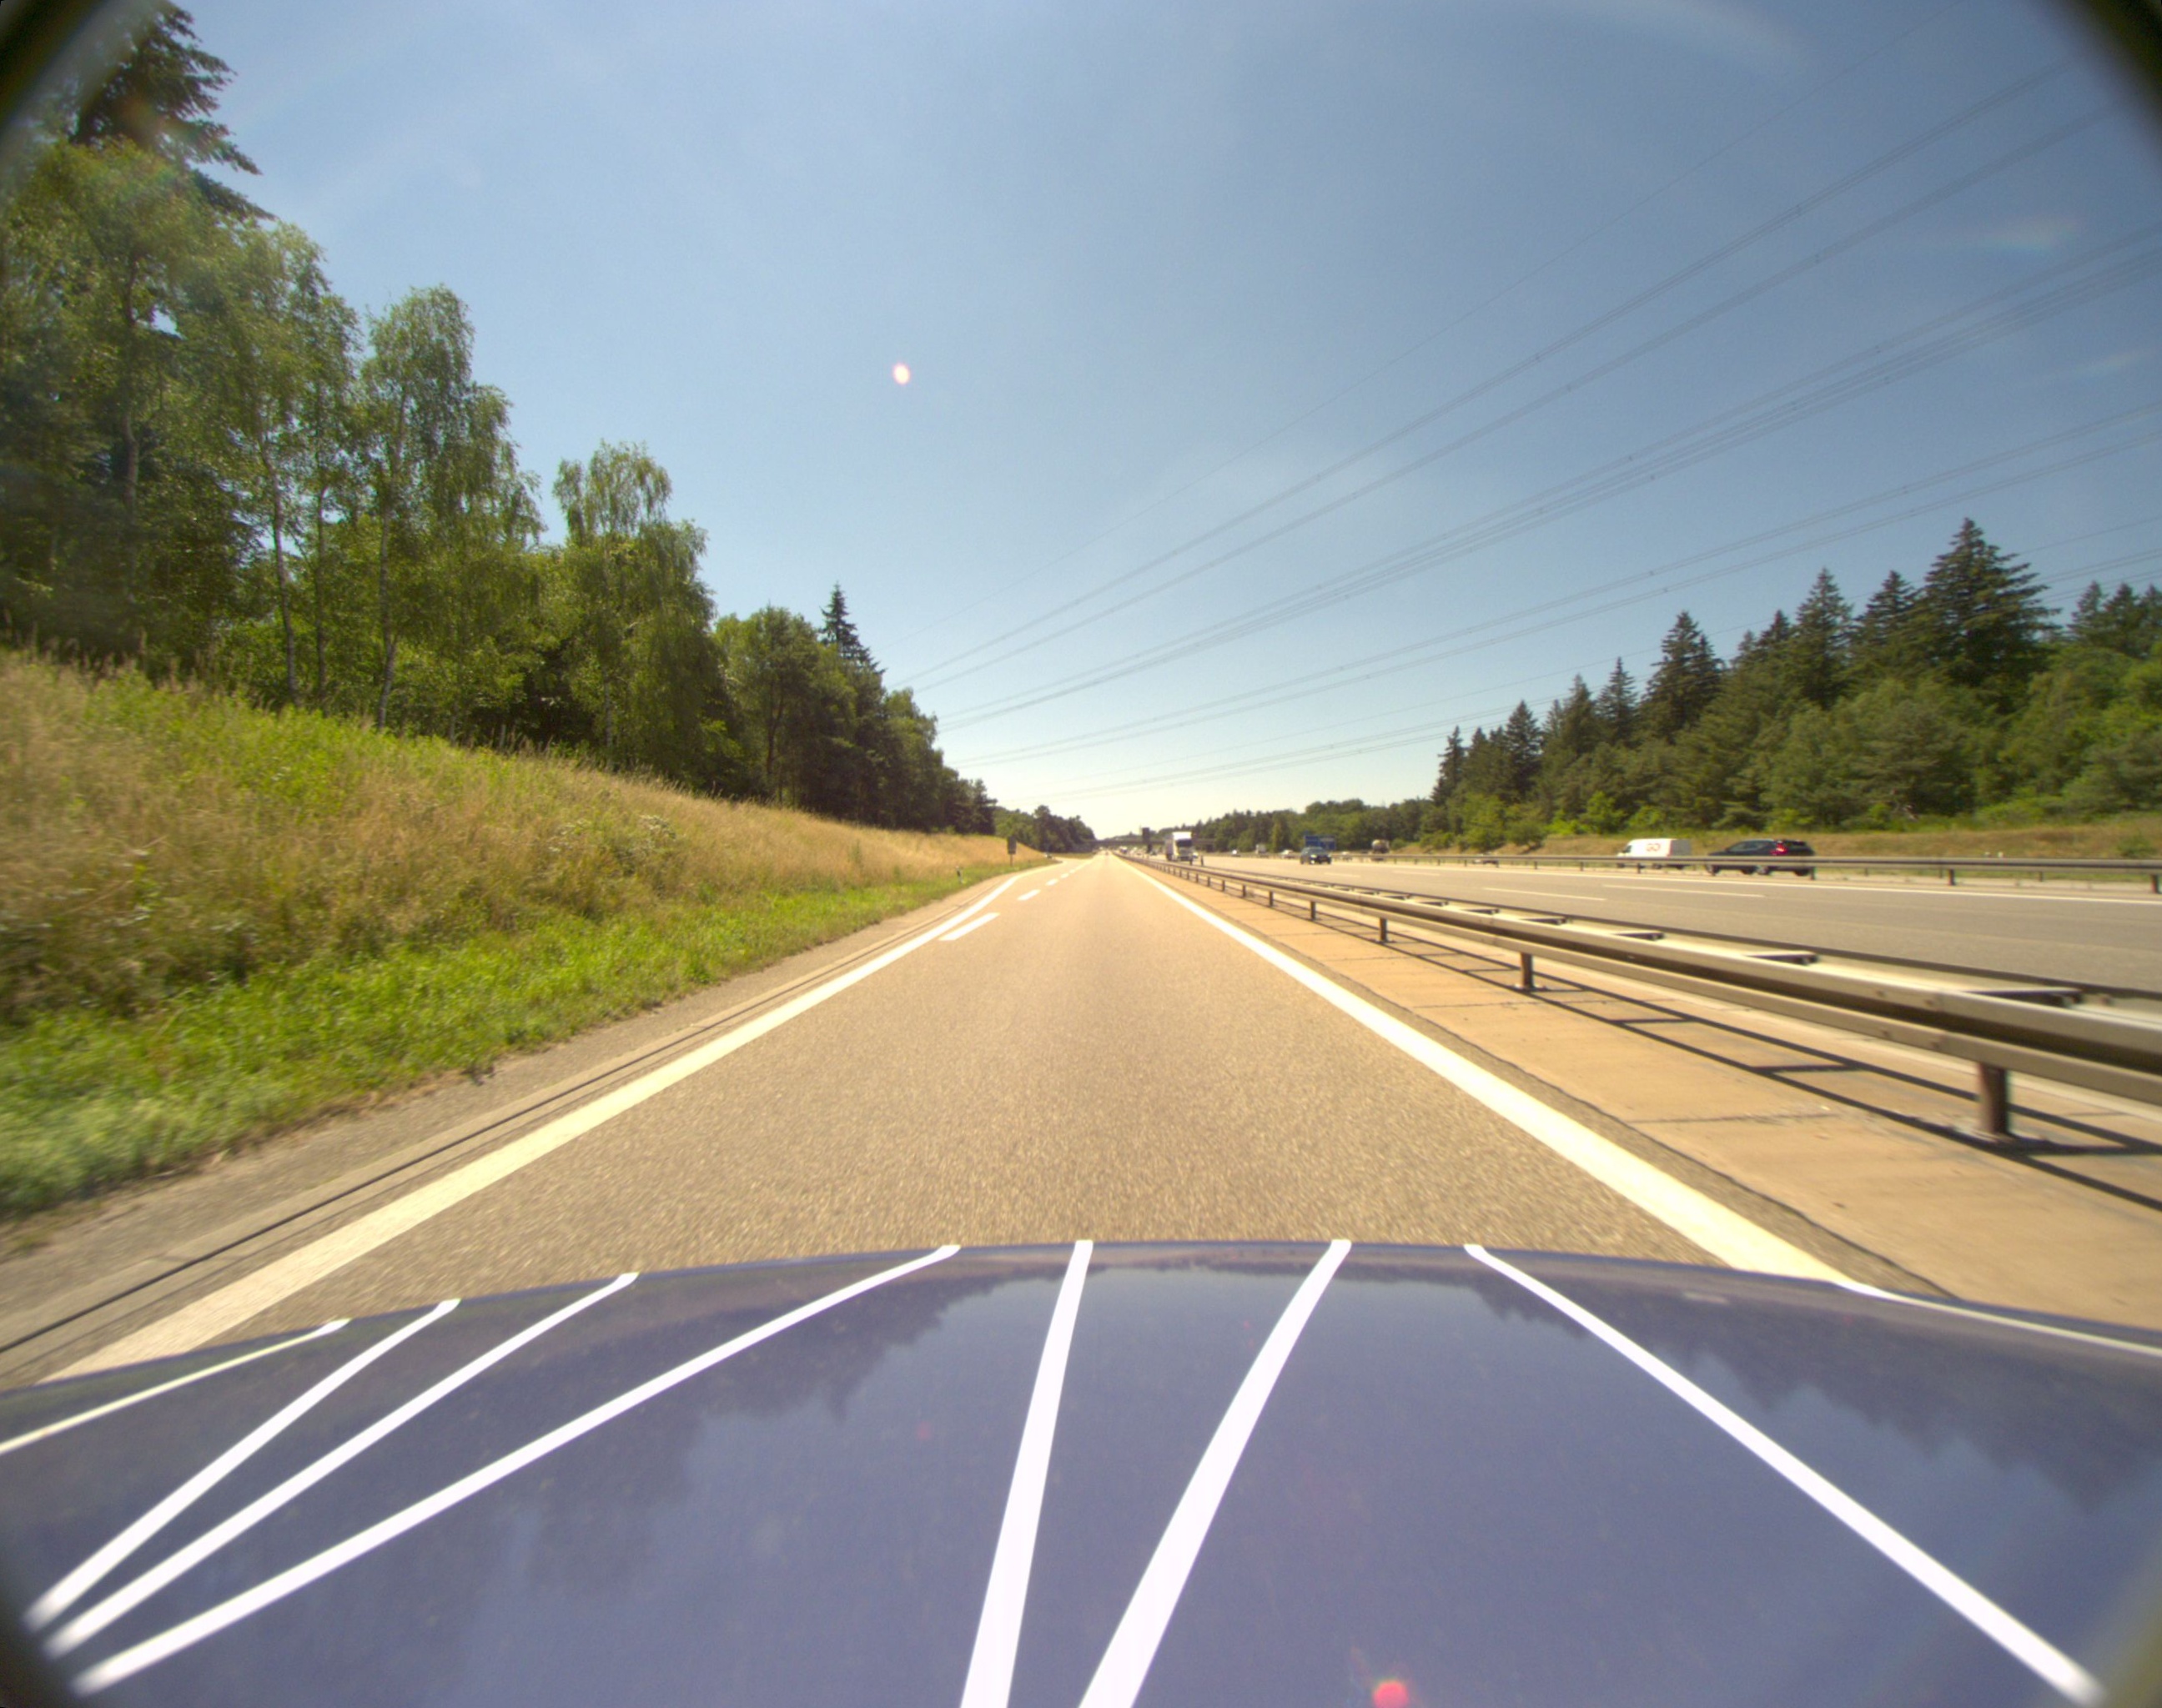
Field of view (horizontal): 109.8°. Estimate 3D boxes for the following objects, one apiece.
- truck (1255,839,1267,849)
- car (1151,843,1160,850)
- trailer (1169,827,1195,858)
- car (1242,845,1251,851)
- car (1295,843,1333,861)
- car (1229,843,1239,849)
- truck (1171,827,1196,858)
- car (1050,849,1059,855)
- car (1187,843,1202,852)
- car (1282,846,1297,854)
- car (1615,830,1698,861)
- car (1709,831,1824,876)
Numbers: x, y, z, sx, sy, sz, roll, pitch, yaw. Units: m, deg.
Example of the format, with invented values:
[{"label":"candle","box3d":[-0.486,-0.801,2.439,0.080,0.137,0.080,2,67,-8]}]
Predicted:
[{"label":"truck","box3d":[54.054,-2.901,228.430,2.532,3.007,5.081,-1,1,2]},{"label":"car","box3d":[23.225,-2.293,237.256,2.315,2.021,5.404,-2,1,3]},{"label":"trailer","box3d":[14.535,-1.633,110.402,2.981,4.118,11.698,-1,0,4]},{"label":"car","box3d":[49.596,-1.815,227.709,1.707,1.597,4.061,-1,0,2]},{"label":"car","box3d":[19.982,-0.195,65.348,1.836,1.423,4.999,-2,0,2]},{"label":"car","box3d":[37.702,-1.949,187.745,1.707,1.466,4.061,-1,0,2]},{"label":"truck","box3d":[14.142,-1.590,104.952,2.979,4.118,5.350,-1,1,4]},{"label":"car","box3d":[-6.564,-0.480,189.782,1.898,1.417,4.262,-2,1,4]},{"label":"car","box3d":[19.998,-1.137,133.833,1.968,1.495,5.404,-2,1,2]},{"label":"car","box3d":[36.849,-0.687,134.172,1.707,1.466,4.061,-1,0,2]},{"label":"car","box3d":[49.068,-0.720,64.997,2.310,2.500,6.457,-1,0,2]},{"label":"car","box3d":[30.723,-0.041,34.231,1.742,1.859,4.001,-2,0,5]}]
